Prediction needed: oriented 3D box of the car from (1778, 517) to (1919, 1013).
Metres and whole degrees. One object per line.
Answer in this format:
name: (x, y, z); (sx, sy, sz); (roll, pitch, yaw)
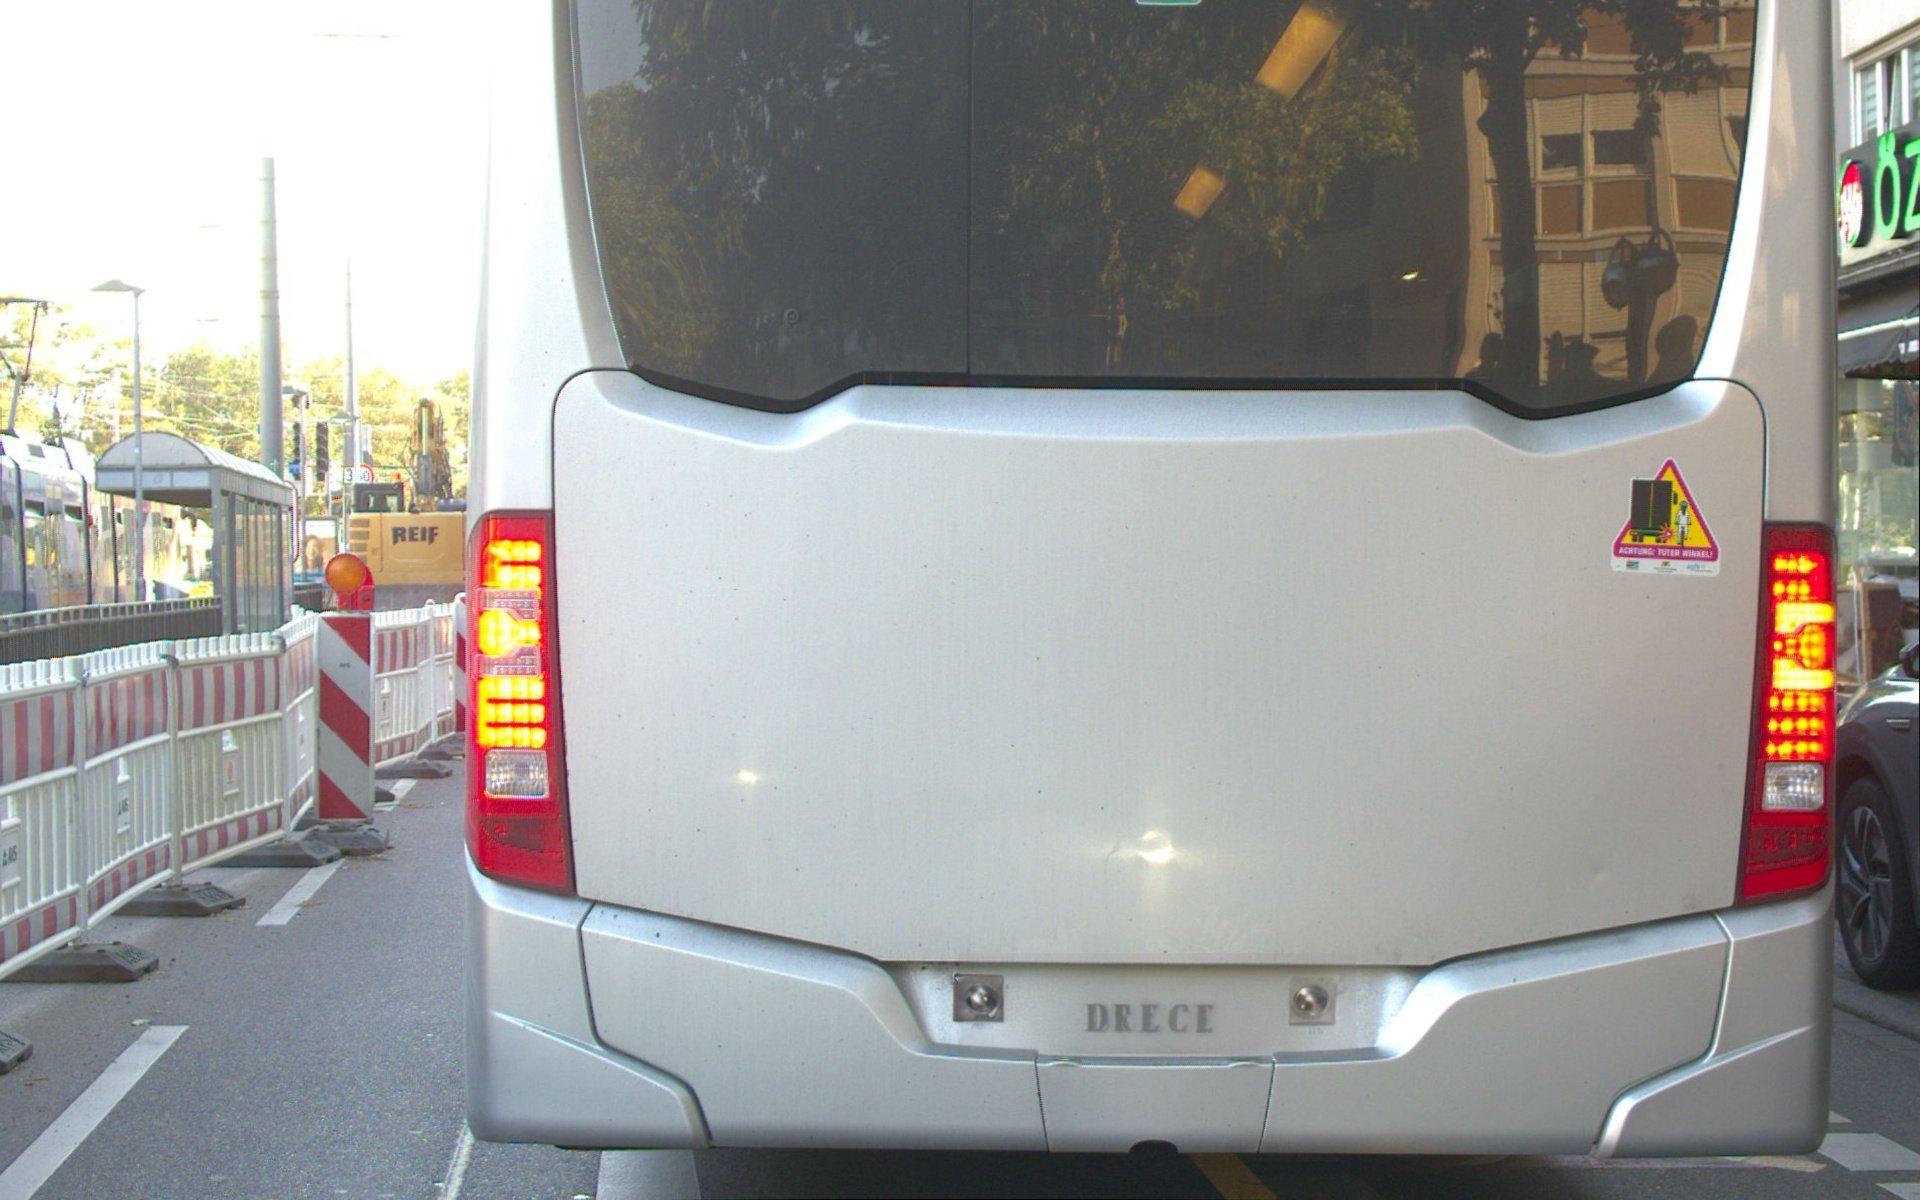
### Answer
car: (4.133, 0.513, 10.147); (1.993, 1.576, 4.369); (-3, 1, -5)

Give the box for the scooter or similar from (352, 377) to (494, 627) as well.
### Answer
scooter or similar: (-10.057, -1.800, 64.738); (2.468, 4.455, 5.974); (-1, 1, -8)

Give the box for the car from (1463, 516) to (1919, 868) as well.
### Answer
car: (4.233, 0.384, 18.481); (1.993, 1.576, 4.369); (-3, 1, -5)

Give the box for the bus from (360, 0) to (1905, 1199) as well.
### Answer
bus: (0.254, -0.210, 9.889); (2.611, 3.115, 7.993); (1, 1, -1)

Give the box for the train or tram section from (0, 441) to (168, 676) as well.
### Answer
train or tram section: (-15.121, -0.702, 57.431); (2.686, 3.521, 11.585); (1, 1, -8)

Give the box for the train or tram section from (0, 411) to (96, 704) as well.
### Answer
train or tram section: (-13.584, -0.574, 45.924); (2.686, 3.546, 11.585); (1, 1, -8)
